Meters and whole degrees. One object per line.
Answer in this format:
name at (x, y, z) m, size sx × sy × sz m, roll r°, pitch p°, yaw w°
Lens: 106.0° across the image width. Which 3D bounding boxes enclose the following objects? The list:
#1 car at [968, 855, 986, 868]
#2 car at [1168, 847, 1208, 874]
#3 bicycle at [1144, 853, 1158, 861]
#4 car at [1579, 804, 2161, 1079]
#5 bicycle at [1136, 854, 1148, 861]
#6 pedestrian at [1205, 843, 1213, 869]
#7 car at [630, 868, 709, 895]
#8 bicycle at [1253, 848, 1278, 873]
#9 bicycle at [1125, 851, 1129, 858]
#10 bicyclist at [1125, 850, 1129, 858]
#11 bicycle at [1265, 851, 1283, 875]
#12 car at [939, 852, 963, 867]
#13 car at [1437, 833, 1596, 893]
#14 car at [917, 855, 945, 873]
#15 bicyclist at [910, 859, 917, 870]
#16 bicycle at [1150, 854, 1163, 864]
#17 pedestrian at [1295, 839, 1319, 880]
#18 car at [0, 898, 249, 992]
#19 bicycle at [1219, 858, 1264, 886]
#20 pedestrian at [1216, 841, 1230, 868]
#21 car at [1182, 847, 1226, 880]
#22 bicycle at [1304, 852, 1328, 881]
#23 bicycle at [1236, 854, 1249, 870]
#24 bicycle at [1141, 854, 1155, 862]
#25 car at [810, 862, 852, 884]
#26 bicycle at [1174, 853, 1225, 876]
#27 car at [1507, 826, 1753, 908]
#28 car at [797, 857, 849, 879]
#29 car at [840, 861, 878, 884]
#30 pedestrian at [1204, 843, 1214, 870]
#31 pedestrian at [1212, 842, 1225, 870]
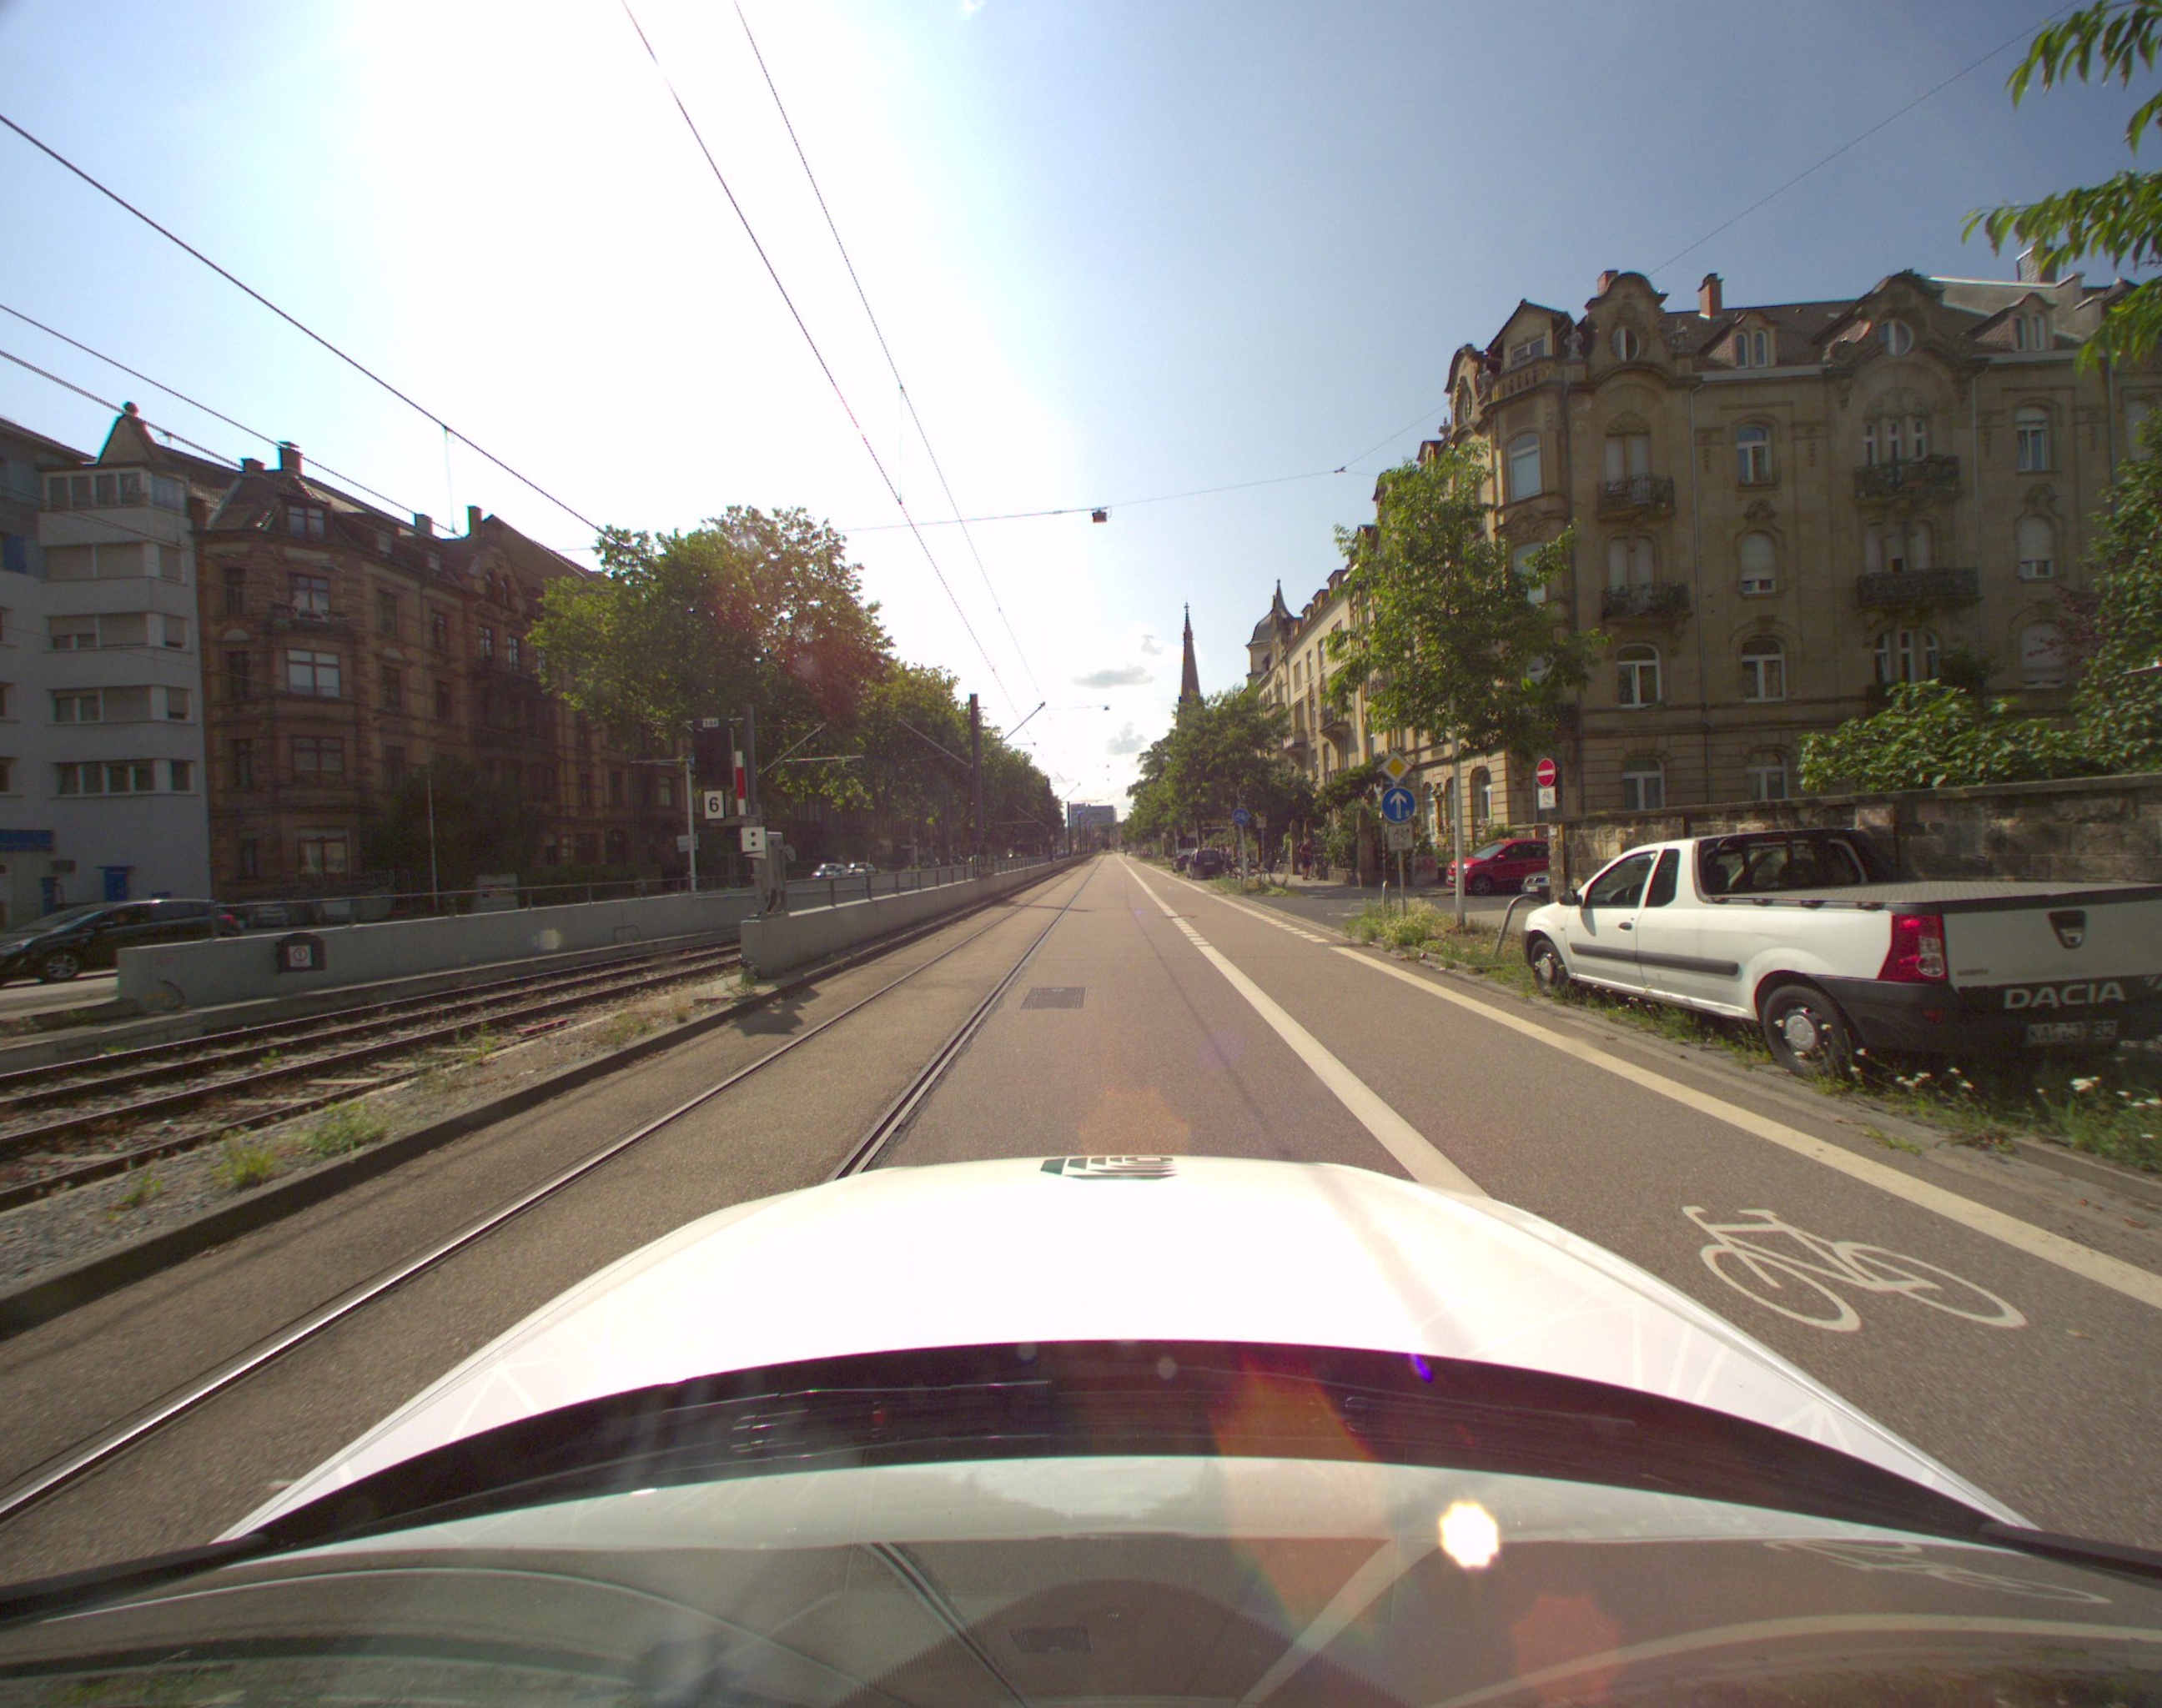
car at (-15.519, 1.122, 121.627) m, size 1.832 × 1.727 × 4.002 m, roll -5°, pitch 0°, yaw 2°
car at (6.823, 0.379, 52.433) m, size 1.793 × 1.526 × 4.486 m, roll -4°, pitch 0°, yaw -1°
bicycle at (9.547, 0.445, 111.177) m, size 1.811 × 0.902 × 0.651 m, roll -5°, pitch 0°, yaw -2°
car at (5.493, 0.425, 6.164) m, size 1.658 × 1.416 × 3.855 m, roll -1°, pitch 1°, yaw 10°
bicycle at (9.543, 0.557, 127.382) m, size 1.811 × 0.902 × 0.603 m, roll -5°, pitch 0°, yaw -2°
pedestrian at (8.551, 0.114, 54.420) m, size 0.316 × 1.706 × 0.462 m, roll -5°, pitch 0°, yaw 16°
car at (-26.327, 1.763, 52.152) m, size 3.969 × 1.483 × 2.002 m, roll -2°, pitch 0°, yaw 4°
bicycle at (9.837, 0.345, 43.584) m, size 0.655 × 1.248 × 2.944 m, roll -5°, pitch 0°, yaw 2°
bicycle at (9.059, 0.073, 161.498) m, size 0.796 × 1.236 × 2.779 m, roll -2°, pitch 0°, yaw 3°
bicyclist at (9.058, -0.003, 161.511) m, size 0.767 × 1.730 × 1.027 m, roll -2°, pitch 0°, yaw 2°
bicycle at (9.633, 0.435, 40.730) m, size 0.426 × 1.139 × 2.024 m, roll -5°, pitch 0°, yaw 2°
car at (-16.446, 0.694, 103.447) m, size 1.985 × 1.636 × 4.005 m, roll -5°, pitch 0°, yaw 4°
car at (12.800, 0.253, 24.140) m, size 3.724 × 1.555 × 1.759 m, roll -3°, pitch 0°, yaw 5°
car at (-16.310, 1.083, 88.647) m, size 1.708 × 1.691 × 3.739 m, roll -4°, pitch 1°, yaw 8°
bicyclist at (-19.447, 1.180, 94.669) m, size 0.533 × 1.232 × 0.724 m, roll -2°, pitch 0°, yaw 2°
bicycle at (8.673, 0.607, 93.369) m, size 0.651 × 1.038 × 1.810 m, roll -5°, pitch 0°, yaw -19°
pedestrian at (9.124, 0.226, 32.923) m, size 0.720 × 1.629 × 0.725 m, roll -2°, pitch 0°, yaw 2°
car at (-19.779, 1.759, 16.505) m, size 1.659 × 1.416 × 3.790 m, roll -3°, pitch 0°, yaw 7°
bicycle at (6.563, 0.724, 33.319) m, size 1.702 × 1.069 × 0.470 m, roll -2°, pitch 0°, yaw -4°
pedestrian at (9.215, 0.038, 52.774) m, size 0.530 × 1.676 × 0.571 m, roll -5°, pitch 0°, yaw -17°
car at (6.334, 0.441, 42.419) m, size 1.679 × 1.502 × 4.711 m, roll -4°, pitch 0°, yaw 3°
bicycle at (9.443, 0.476, 32.747) m, size 0.468 × 1.108 × 1.712 m, roll -2°, pitch 0°, yaw 2°
bicycle at (10.031, 0.510, 50.715) m, size 0.426 × 0.940 × 1.808 m, roll -5°, pitch 0°, yaw 2°
bicycle at (9.567, 0.557, 116.116) m, size 1.811 × 0.902 × 0.603 m, roll -5°, pitch 0°, yaw -2°
car at (-17.343, 1.306, 56.539) m, size 1.490 × 1.303 × 3.495 m, roll -5°, pitch 0°, yaw 4°
bicycle at (7.108, 0.648, 48.903) m, size 2.947 × 1.246 × 0.790 m, roll -3°, pitch 0°, yaw -11°
car at (12.139, 0.306, 18.214) m, size 4.238 × 1.556 × 1.756 m, roll -3°, pitch -2°, yaw 0°
car at (-25.083, 1.388, 79.268) m, size 4.387 × 1.918 × 2.000 m, roll -2°, pitch 0°, yaw 0°
car at (-17.110, 1.381, 62.889) m, size 1.637 × 1.482 × 4.003 m, roll -5°, pitch 0°, yaw 2°
pedestrian at (8.639, 0.183, 54.916) m, size 0.457 × 1.804 × 0.319 m, roll -5°, pitch 0°, yaw 0°
pedestrian at (9.199, 0.133, 54.336) m, size 0.667 × 1.804 × 0.319 m, roll -5°, pitch 0°, yaw 0°
